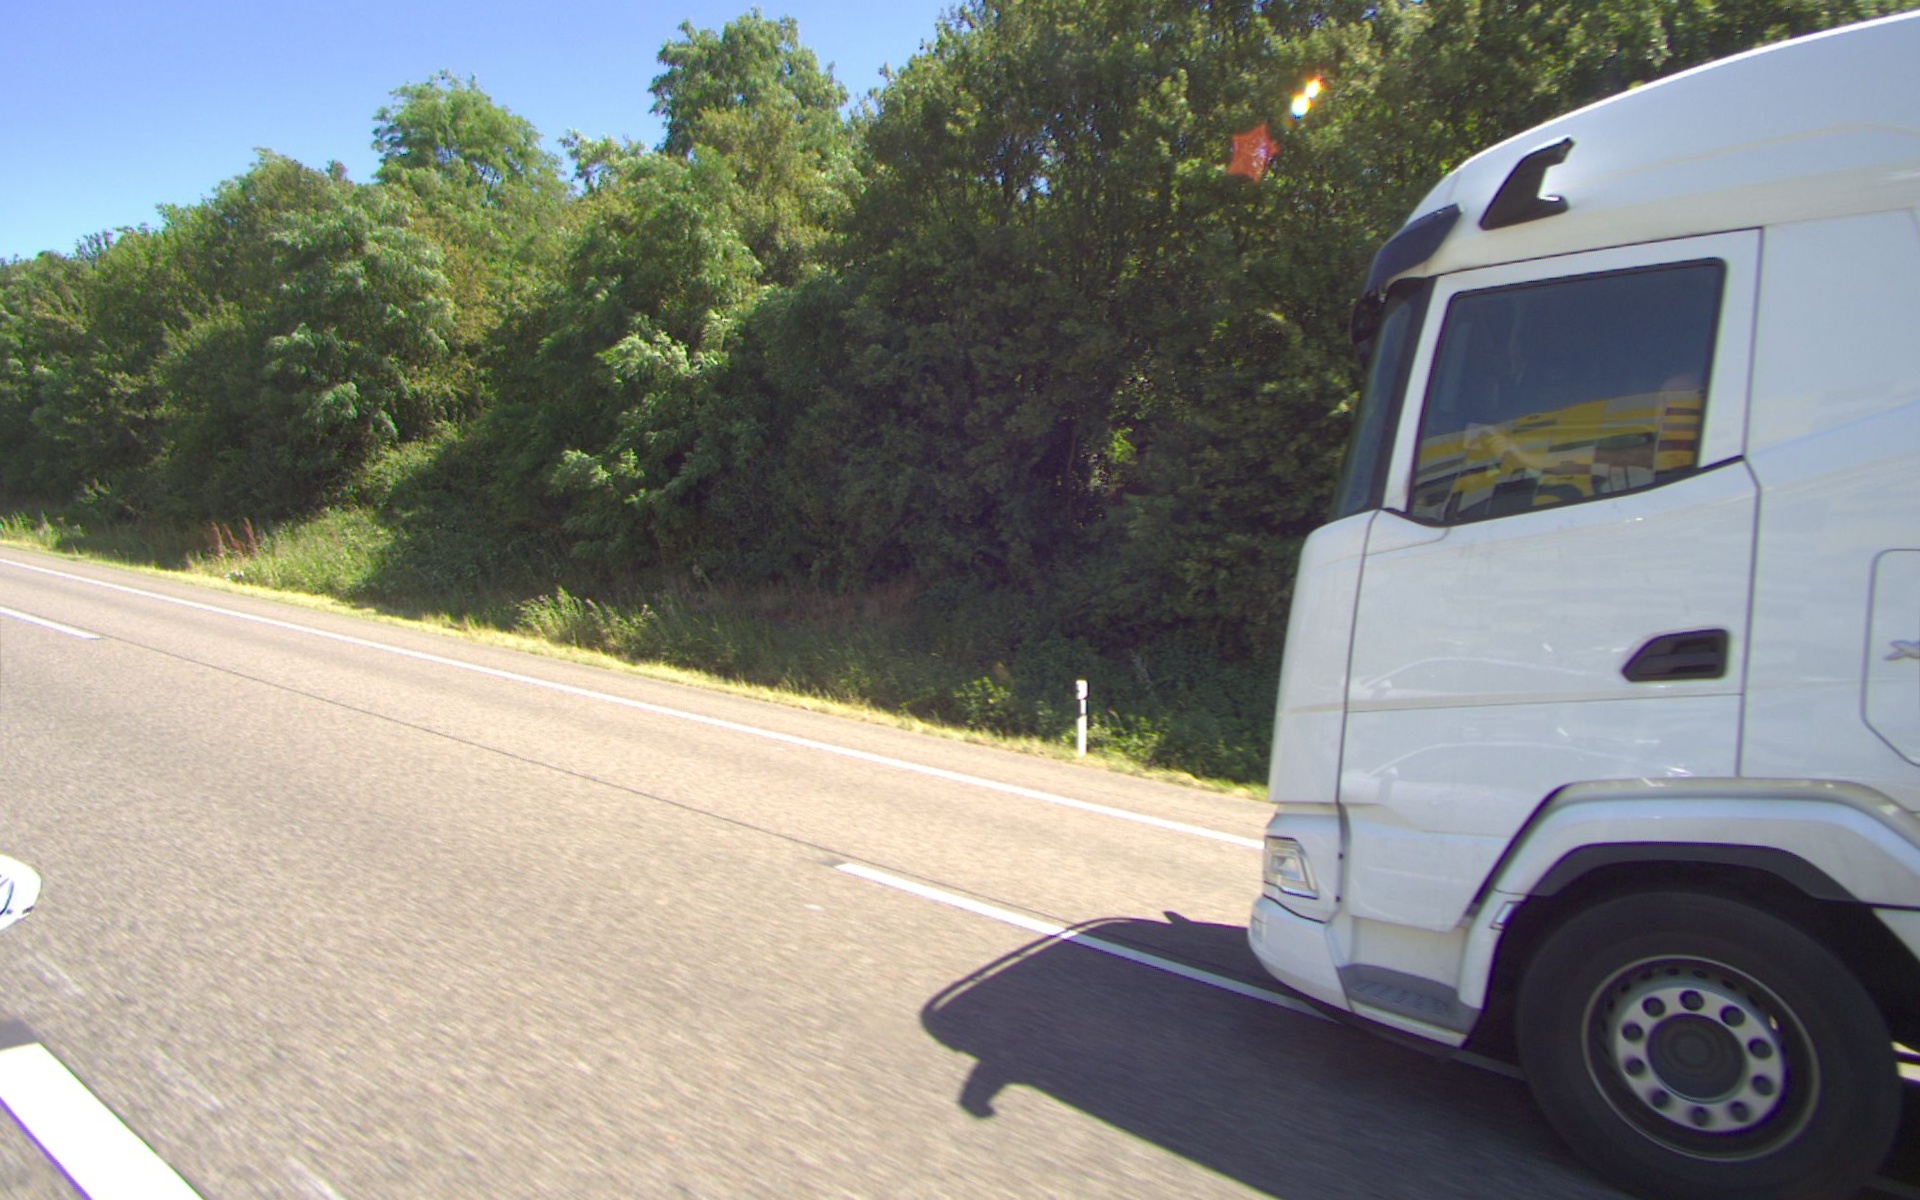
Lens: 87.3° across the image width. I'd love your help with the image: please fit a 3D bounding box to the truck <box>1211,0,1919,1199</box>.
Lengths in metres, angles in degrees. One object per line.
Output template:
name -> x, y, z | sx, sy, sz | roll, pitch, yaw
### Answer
truck -> 4.362, 0.042, 3.289 | 5.948, 4.118, 2.682 | 7, -1, 31
